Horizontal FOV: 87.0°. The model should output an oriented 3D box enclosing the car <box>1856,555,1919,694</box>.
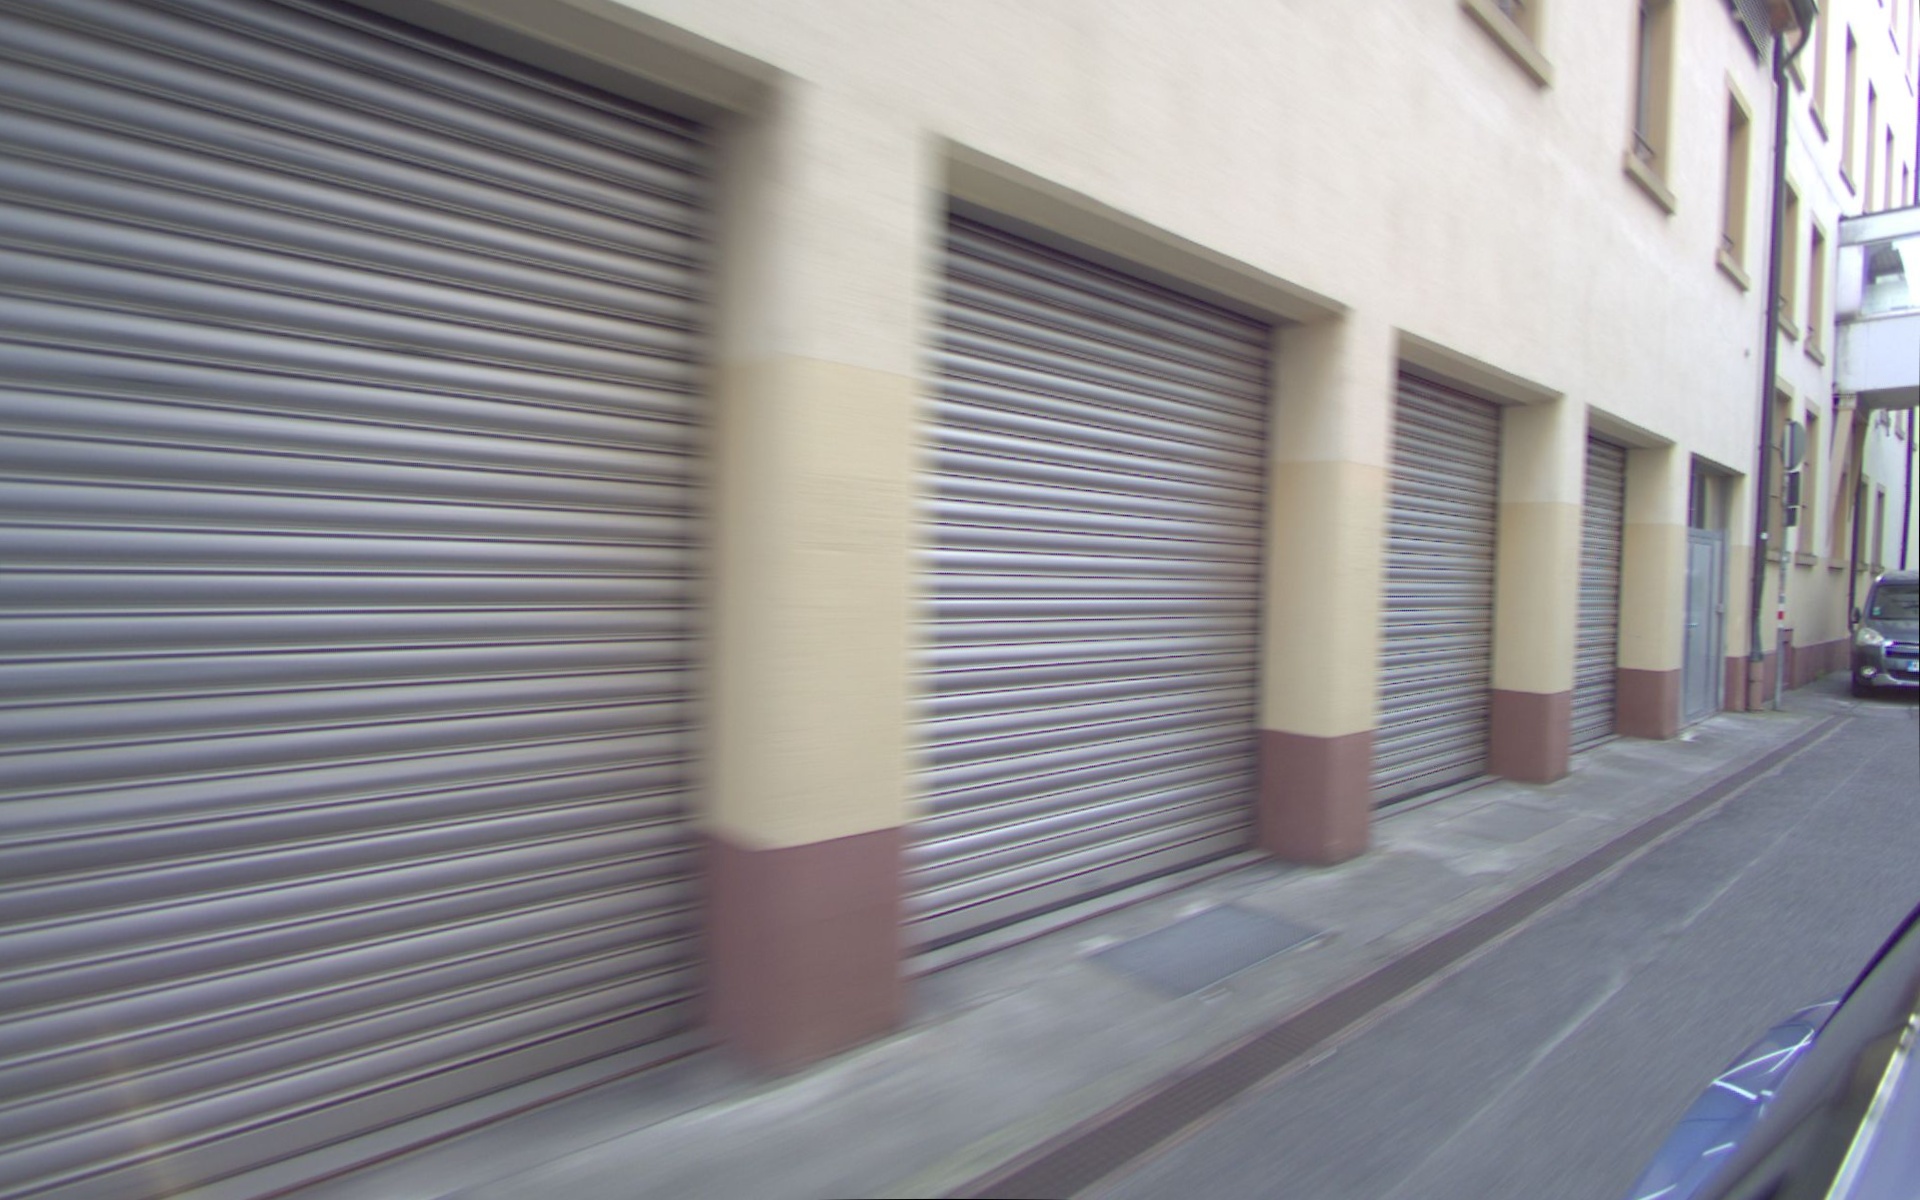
[{"bbox_3d":[14.283,0.304,14.507,4.671,1.789,1.761,0,1,-44],"label":"car"}]
